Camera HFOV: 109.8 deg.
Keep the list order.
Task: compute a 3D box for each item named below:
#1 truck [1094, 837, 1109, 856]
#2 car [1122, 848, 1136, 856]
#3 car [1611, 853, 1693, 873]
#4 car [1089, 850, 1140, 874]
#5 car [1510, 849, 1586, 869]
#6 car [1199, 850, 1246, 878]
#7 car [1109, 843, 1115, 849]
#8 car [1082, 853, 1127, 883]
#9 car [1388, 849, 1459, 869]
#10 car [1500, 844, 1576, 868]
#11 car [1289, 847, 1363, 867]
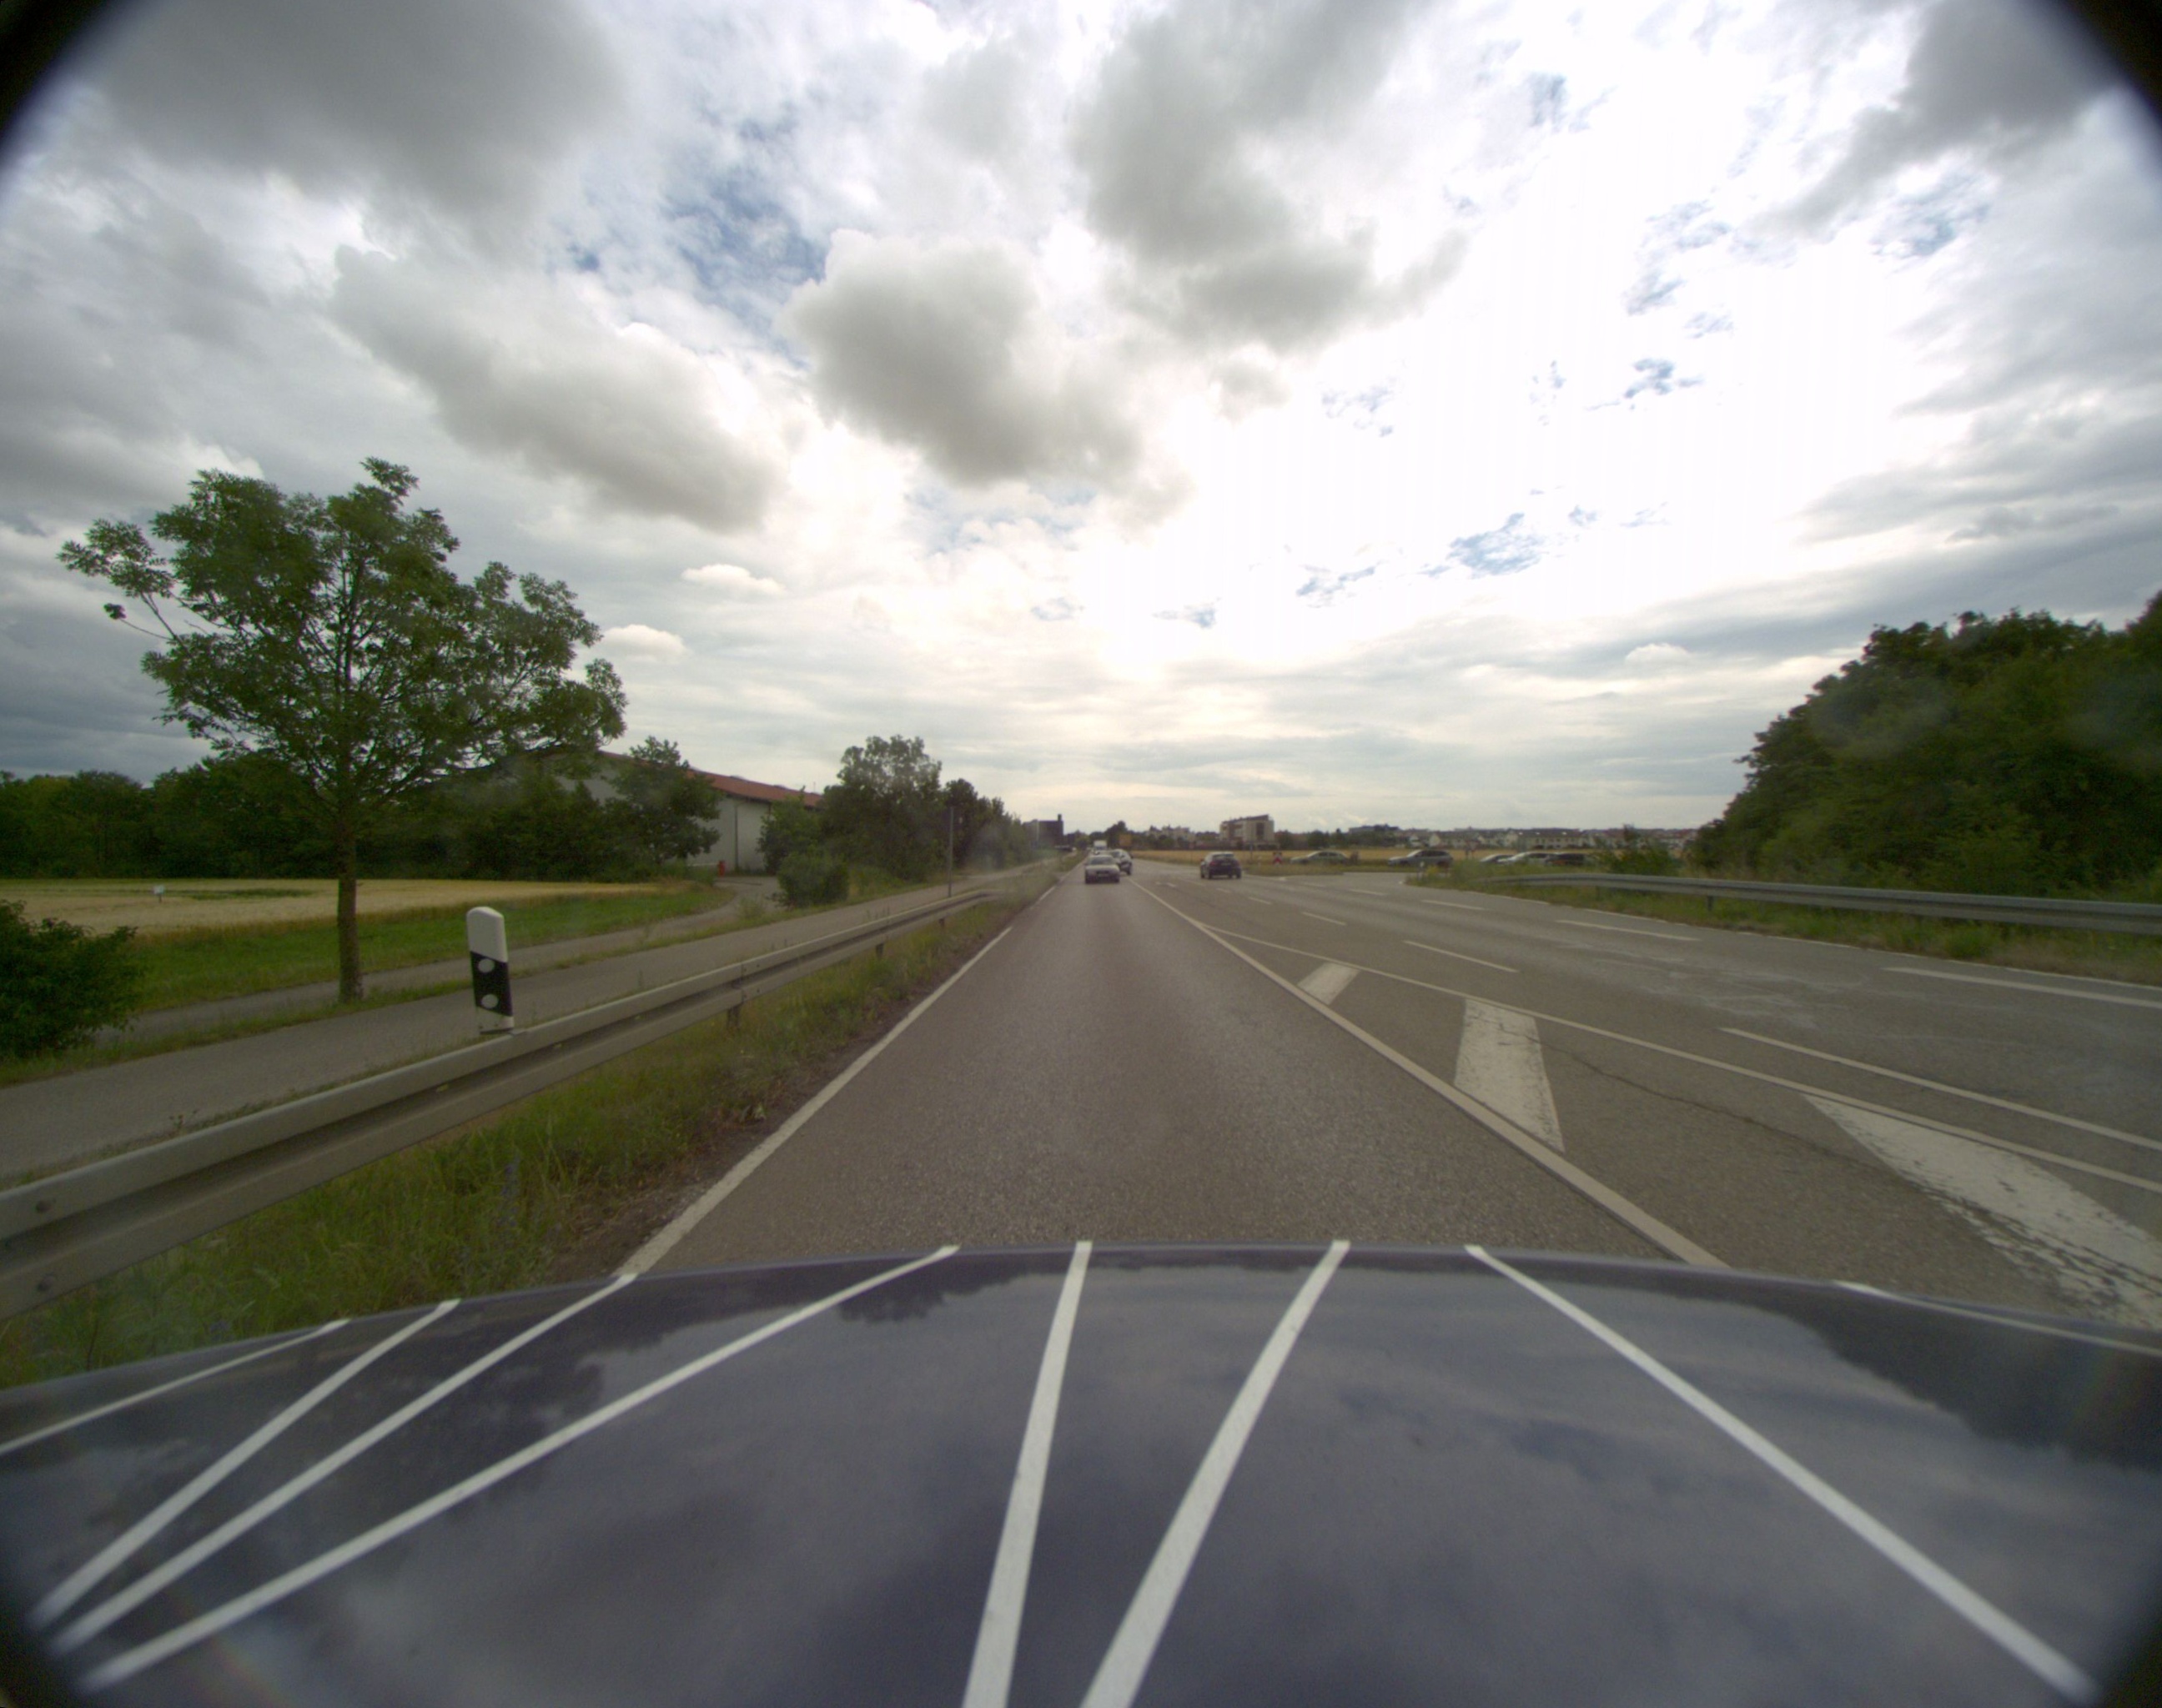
[{"bbox_3d":[4.149,-1.528,151.014,2.813,3.588,11.218,0,1,2],"label":"truck"},{"bbox_3d":[8.470,-0.379,134.475,2.170,1.277,4.237,-2,1,1],"label":"car"},{"bbox_3d":[42.244,0.654,56.299,4.499,1.474,1.912,0,1,7],"label":"car"},{"bbox_3d":[2.296,0.499,50.795,1.906,1.523,4.762,0,1,22],"label":"car"},{"bbox_3d":[35.079,0.352,57.203,4.499,1.474,1.912,0,1,7],"label":"car"},{"bbox_3d":[7.533,0.481,40.723,1.867,1.368,4.000,-2,0,2],"label":"car"},{"bbox_3d":[9.216,-2.309,223.414,1.683,1.512,4.395,-2,1,1],"label":"car"},{"bbox_3d":[1.276,0.681,39.670,1.908,1.416,4.467,0,1,7],"label":"car"},{"bbox_3d":[26.379,0.370,58.676,4.632,1.508,1.912,0,1,7],"label":"car"},{"bbox_3d":[31.262,0.116,52.025,4.482,1.602,1.706,-1,1,-10],"label":"car"},{"bbox_3d":[19.128,0.220,59.553,5.295,1.512,1.912,0,1,7],"label":"car"}]
